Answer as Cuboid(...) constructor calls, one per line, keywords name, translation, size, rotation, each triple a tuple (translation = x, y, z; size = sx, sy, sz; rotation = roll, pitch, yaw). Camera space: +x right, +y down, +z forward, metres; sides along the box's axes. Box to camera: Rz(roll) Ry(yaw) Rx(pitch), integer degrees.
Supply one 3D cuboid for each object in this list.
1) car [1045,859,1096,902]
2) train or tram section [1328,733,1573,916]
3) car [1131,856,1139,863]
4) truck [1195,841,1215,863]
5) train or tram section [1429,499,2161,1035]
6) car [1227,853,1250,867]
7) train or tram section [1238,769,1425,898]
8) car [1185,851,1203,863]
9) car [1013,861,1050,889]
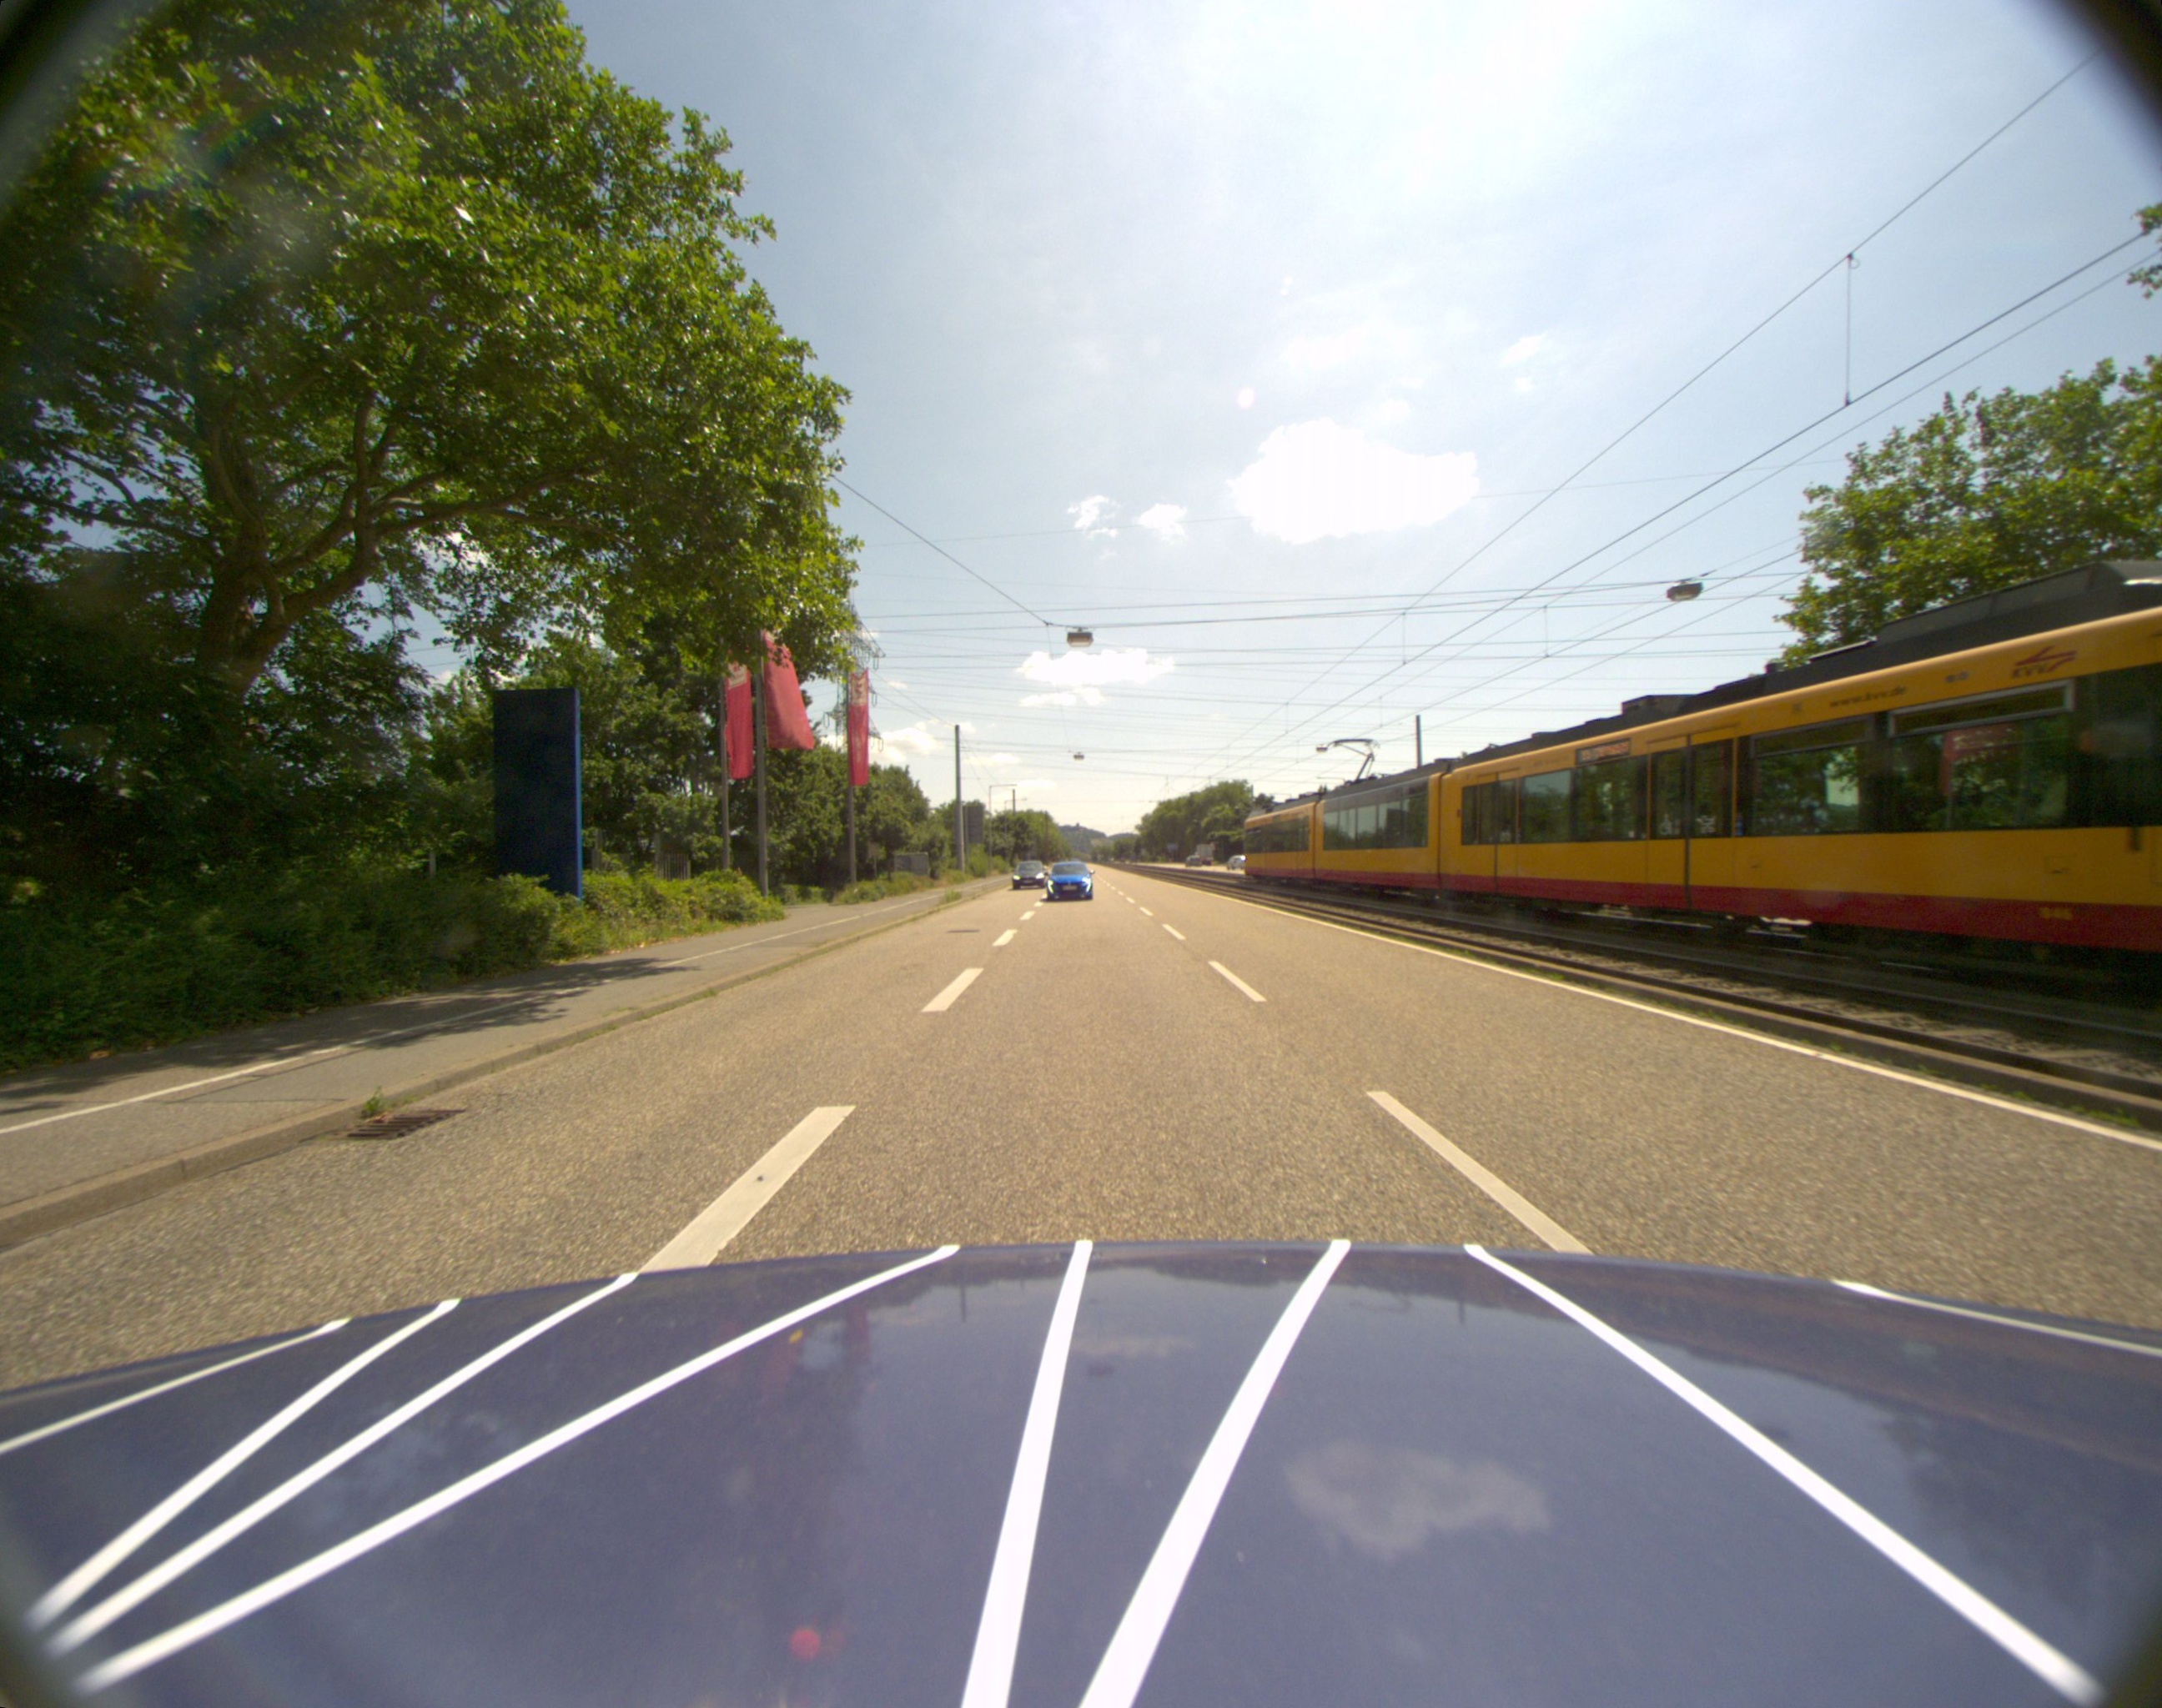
Cuboid(name="car", translation=(-0.387, 0.974, 29.871), size=(1.771, 1.463, 4.467), rotation=(-3, 0, 0))
Cuboid(name="train or tram section", translation=(10.039, -0.692, 21.940), size=(3.056, 4.242, 8.002), rotation=(-1, 0, 0))
Cuboid(name="car", translation=(15.590, 1.652, 219.540), size=(1.862, 1.916, 5.007), rotation=(0, 0, 0))
Cuboid(name="truck", translation=(19.316, -0.316, 118.488), size=(2.255, 3.217, 6.042), rotation=(-1, 0, 1))
Cuboid(name="train or tram section", translation=(10.083, -0.704, 11.547), size=(3.056, 4.242, 14.035), rotation=(-1, 0, 0))
Cuboid(name="car", translation=(16.562, 0.633, 80.080), size=(1.641, 1.413, 4.127), rotation=(-1, 0, 1))
Cuboid(name="train or tram section", translation=(10.022, -0.679, 33.266), size=(3.056, 4.242, 15.422), rotation=(-1, 0, 0))
Cuboid(name="car", translation=(15.674, 0.399, 105.384), size=(1.757, 1.526, 3.956), rotation=(-1, 0, -1))
Cuboid(name="car", translation=(-2.746, 1.126, 42.749), size=(1.771, 1.422, 4.000), rotation=(-3, 0, 0))
